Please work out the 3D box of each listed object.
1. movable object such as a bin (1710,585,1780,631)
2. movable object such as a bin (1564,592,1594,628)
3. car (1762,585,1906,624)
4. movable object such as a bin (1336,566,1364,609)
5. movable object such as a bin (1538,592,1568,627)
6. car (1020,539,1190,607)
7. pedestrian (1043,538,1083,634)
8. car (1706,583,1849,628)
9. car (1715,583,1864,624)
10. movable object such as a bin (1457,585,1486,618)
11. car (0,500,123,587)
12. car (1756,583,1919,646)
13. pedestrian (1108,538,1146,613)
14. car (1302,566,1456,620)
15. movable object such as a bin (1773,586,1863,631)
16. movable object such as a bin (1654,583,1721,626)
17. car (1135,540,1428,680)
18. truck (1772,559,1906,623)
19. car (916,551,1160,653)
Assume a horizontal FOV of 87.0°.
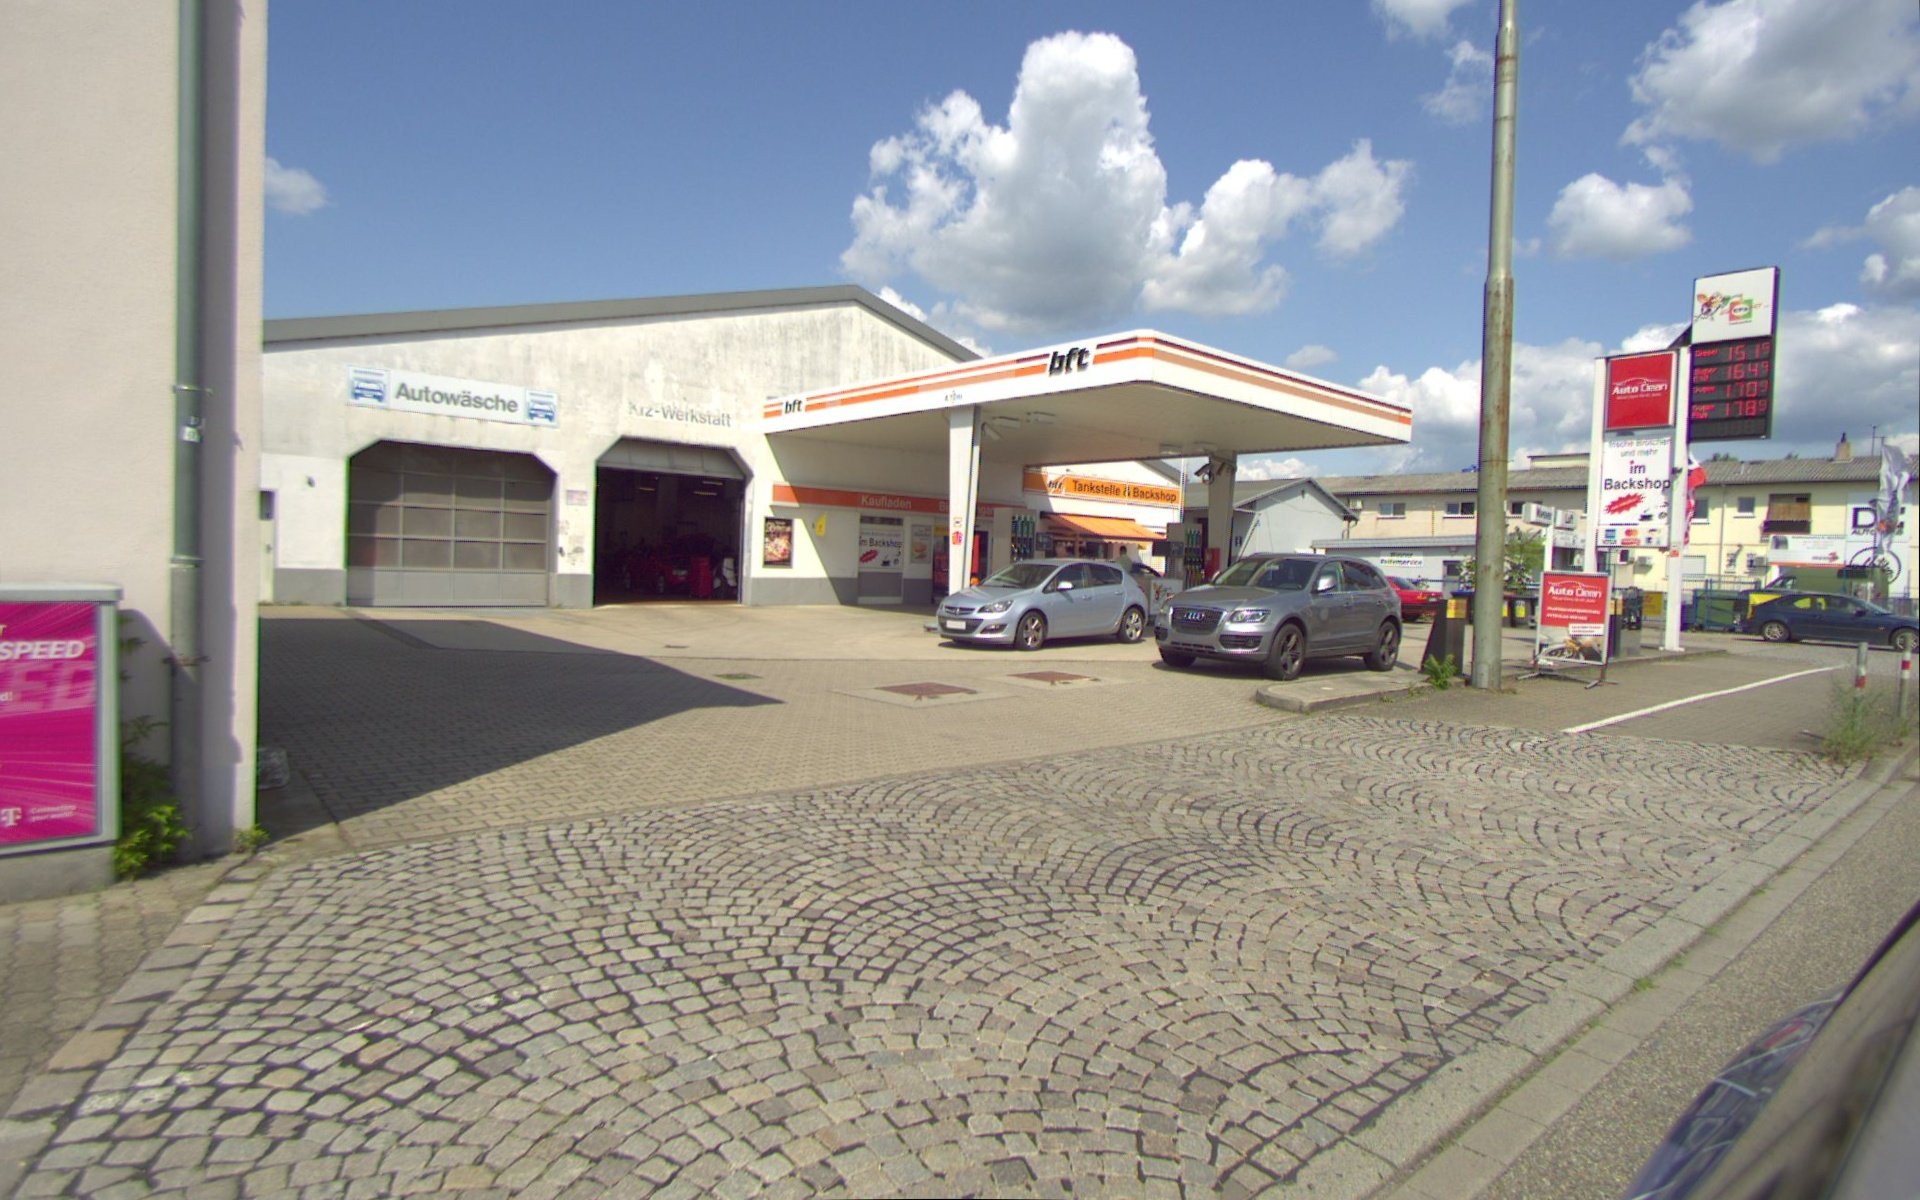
[{"bbox_3d":[26.241,0.242,33.829,1.735,1.427,1.534,-1,2,-41],"label":"movable object such as a bin"},{"bbox_3d":[18.084,0.289,29.563,0.694,1.023,0.581,-1,1,-42],"label":"movable object such as a bin"},{"bbox_3d":[36.906,0.145,42.850,1.792,1.526,4.266,0,2,-32],"label":"car"},{"bbox_3d":[13.342,-0.425,34.610,0.694,1.408,0.581,0,3,-42],"label":"movable object such as a bin"},{"bbox_3d":[17.630,0.271,30.106,0.694,1.023,0.581,-1,1,-42],"label":"movable object such as a bin"},{"bbox_3d":[3.716,-0.642,25.454,4.413,1.538,1.686,0,3,-41],"label":"car"},{"bbox_3d":[1.975,-0.274,19.432,0.568,1.798,0.497,0,1,-43],"label":"pedestrian"},{"bbox_3d":[30.934,0.174,38.431,1.592,1.480,3.919,0,3,-24],"label":"car"},{"bbox_3d":[33.123,0.098,40.547,1.789,1.524,4.272,0,2,-24],"label":"car"},{"bbox_3d":[16.090,0.043,31.840,0.694,1.023,0.581,-1,1,-42],"label":"movable object such as a bin"},{"bbox_3d":[-18.057,-1.076,18.788,3.872,1.561,1.516,-1,4,-41],"label":"car"},{"bbox_3d":[23.781,0.347,26.684,1.616,1.425,4.069,-1,3,-34],"label":"car"},{"bbox_3d":[3.988,-0.585,24.122,0.683,1.744,0.611,1,1,37],"label":"pedestrian"},{"bbox_3d":[13.237,-0.264,32.180,1.739,1.441,4.147,-1,4,-39],"label":"car"},{"bbox_3d":[27.499,0.248,32.434,1.679,1.364,1.966,-1,2,-41],"label":"movable object such as a bin"},{"bbox_3d":[25.171,0.133,35.000,1.735,1.427,1.534,-1,2,-41],"label":"movable object such as a bin"},{"bbox_3d":[4.696,0.063,14.429,4.537,1.644,1.949,0,4,-43],"label":"car"},{"bbox_3d":[38.832,-0.434,44.794,2.071,2.693,4.181,-1,2,-39],"label":"truck"},{"bbox_3d":[1.446,-0.034,17.456,4.350,1.488,1.694,-1,5,-43],"label":"car"}]
